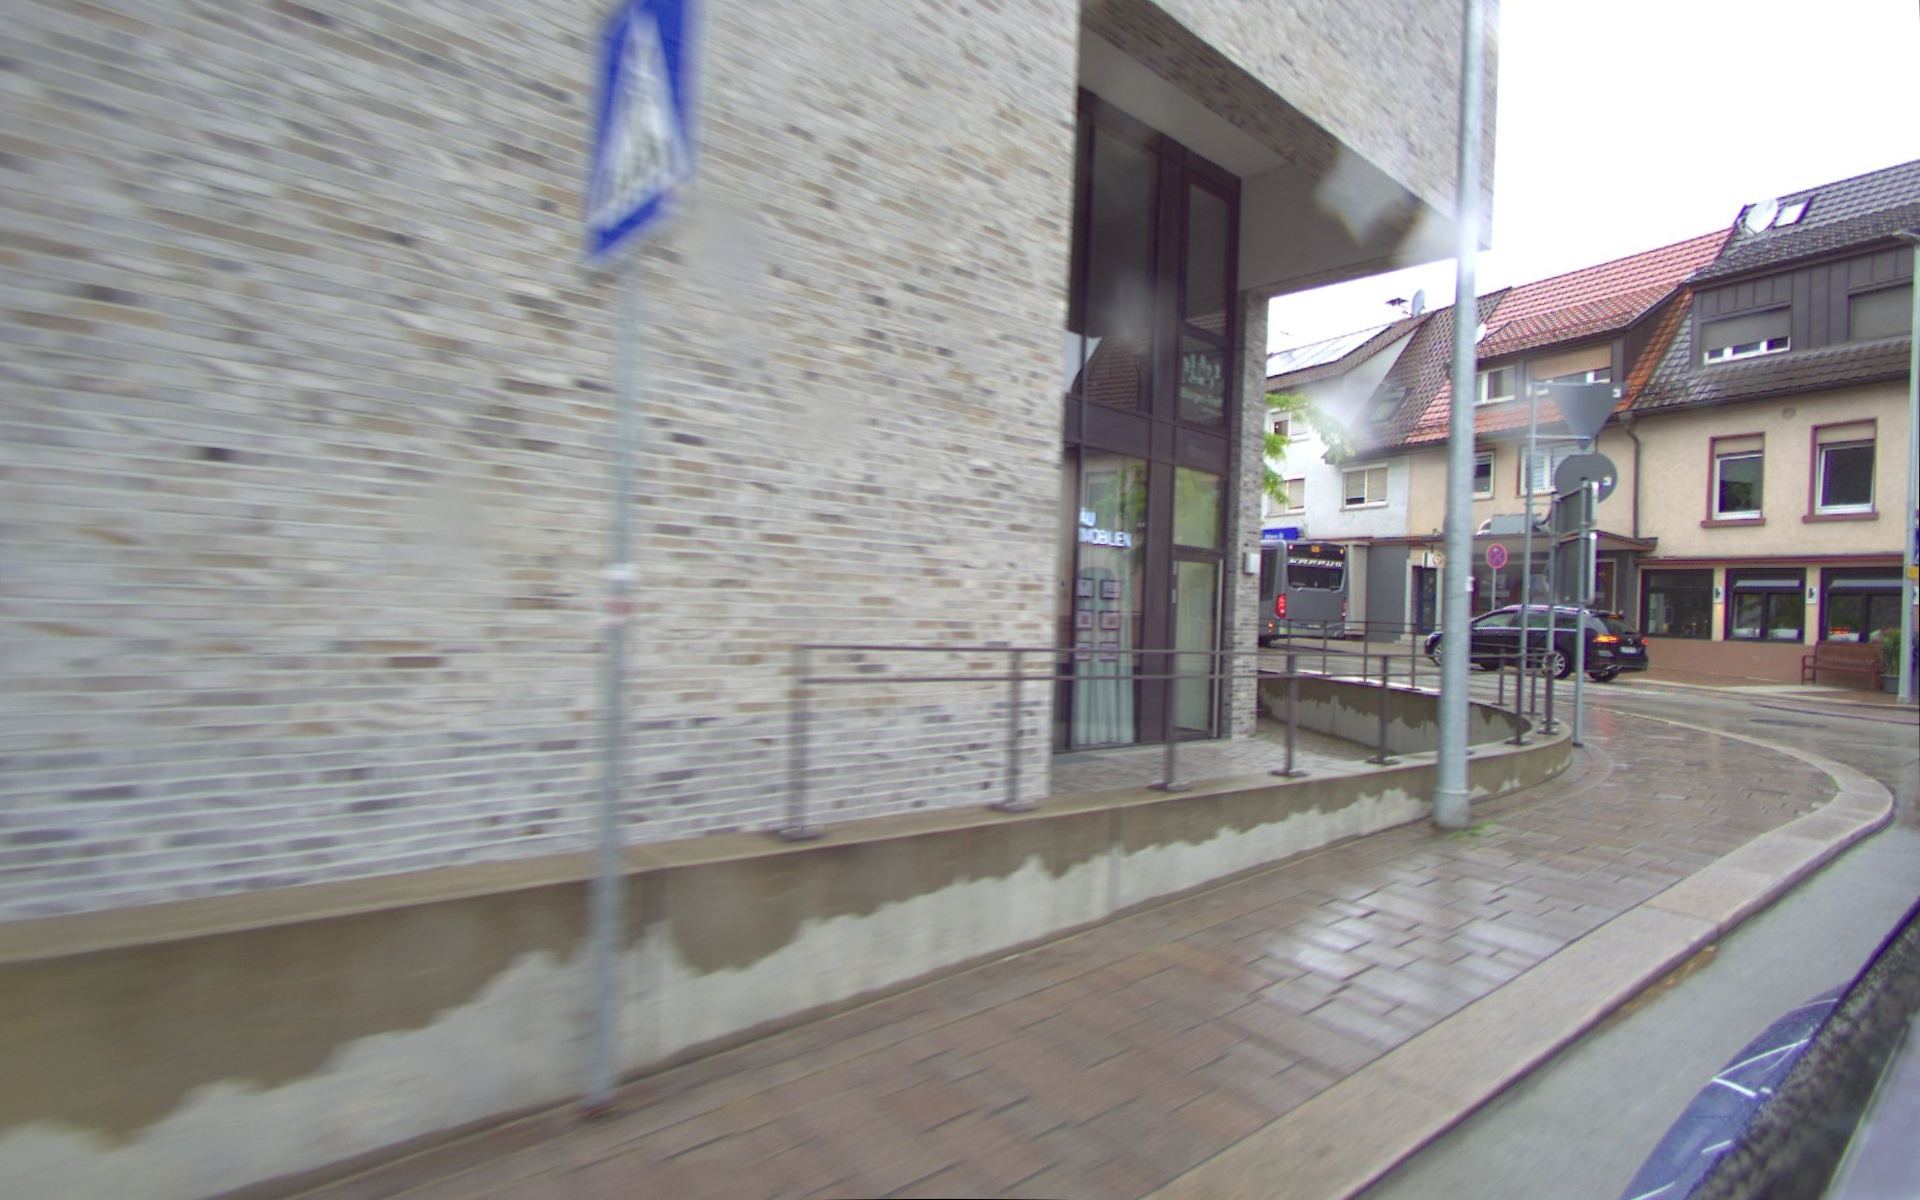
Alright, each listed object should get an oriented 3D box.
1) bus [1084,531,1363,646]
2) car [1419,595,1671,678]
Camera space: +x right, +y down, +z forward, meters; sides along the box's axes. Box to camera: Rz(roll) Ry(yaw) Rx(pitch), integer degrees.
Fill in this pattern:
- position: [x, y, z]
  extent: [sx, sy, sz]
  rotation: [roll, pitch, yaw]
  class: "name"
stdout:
- position: [8.035, -0.488, 33.256]
  extent: [2.675, 3.118, 10.970]
  rotation: [2, 1, -23]
  class: "bus"
- position: [12.230, 0.703, 21.514]
  extent: [1.636, 1.448, 4.477]
  rotation: [4, 0, -25]
  class: "car"
